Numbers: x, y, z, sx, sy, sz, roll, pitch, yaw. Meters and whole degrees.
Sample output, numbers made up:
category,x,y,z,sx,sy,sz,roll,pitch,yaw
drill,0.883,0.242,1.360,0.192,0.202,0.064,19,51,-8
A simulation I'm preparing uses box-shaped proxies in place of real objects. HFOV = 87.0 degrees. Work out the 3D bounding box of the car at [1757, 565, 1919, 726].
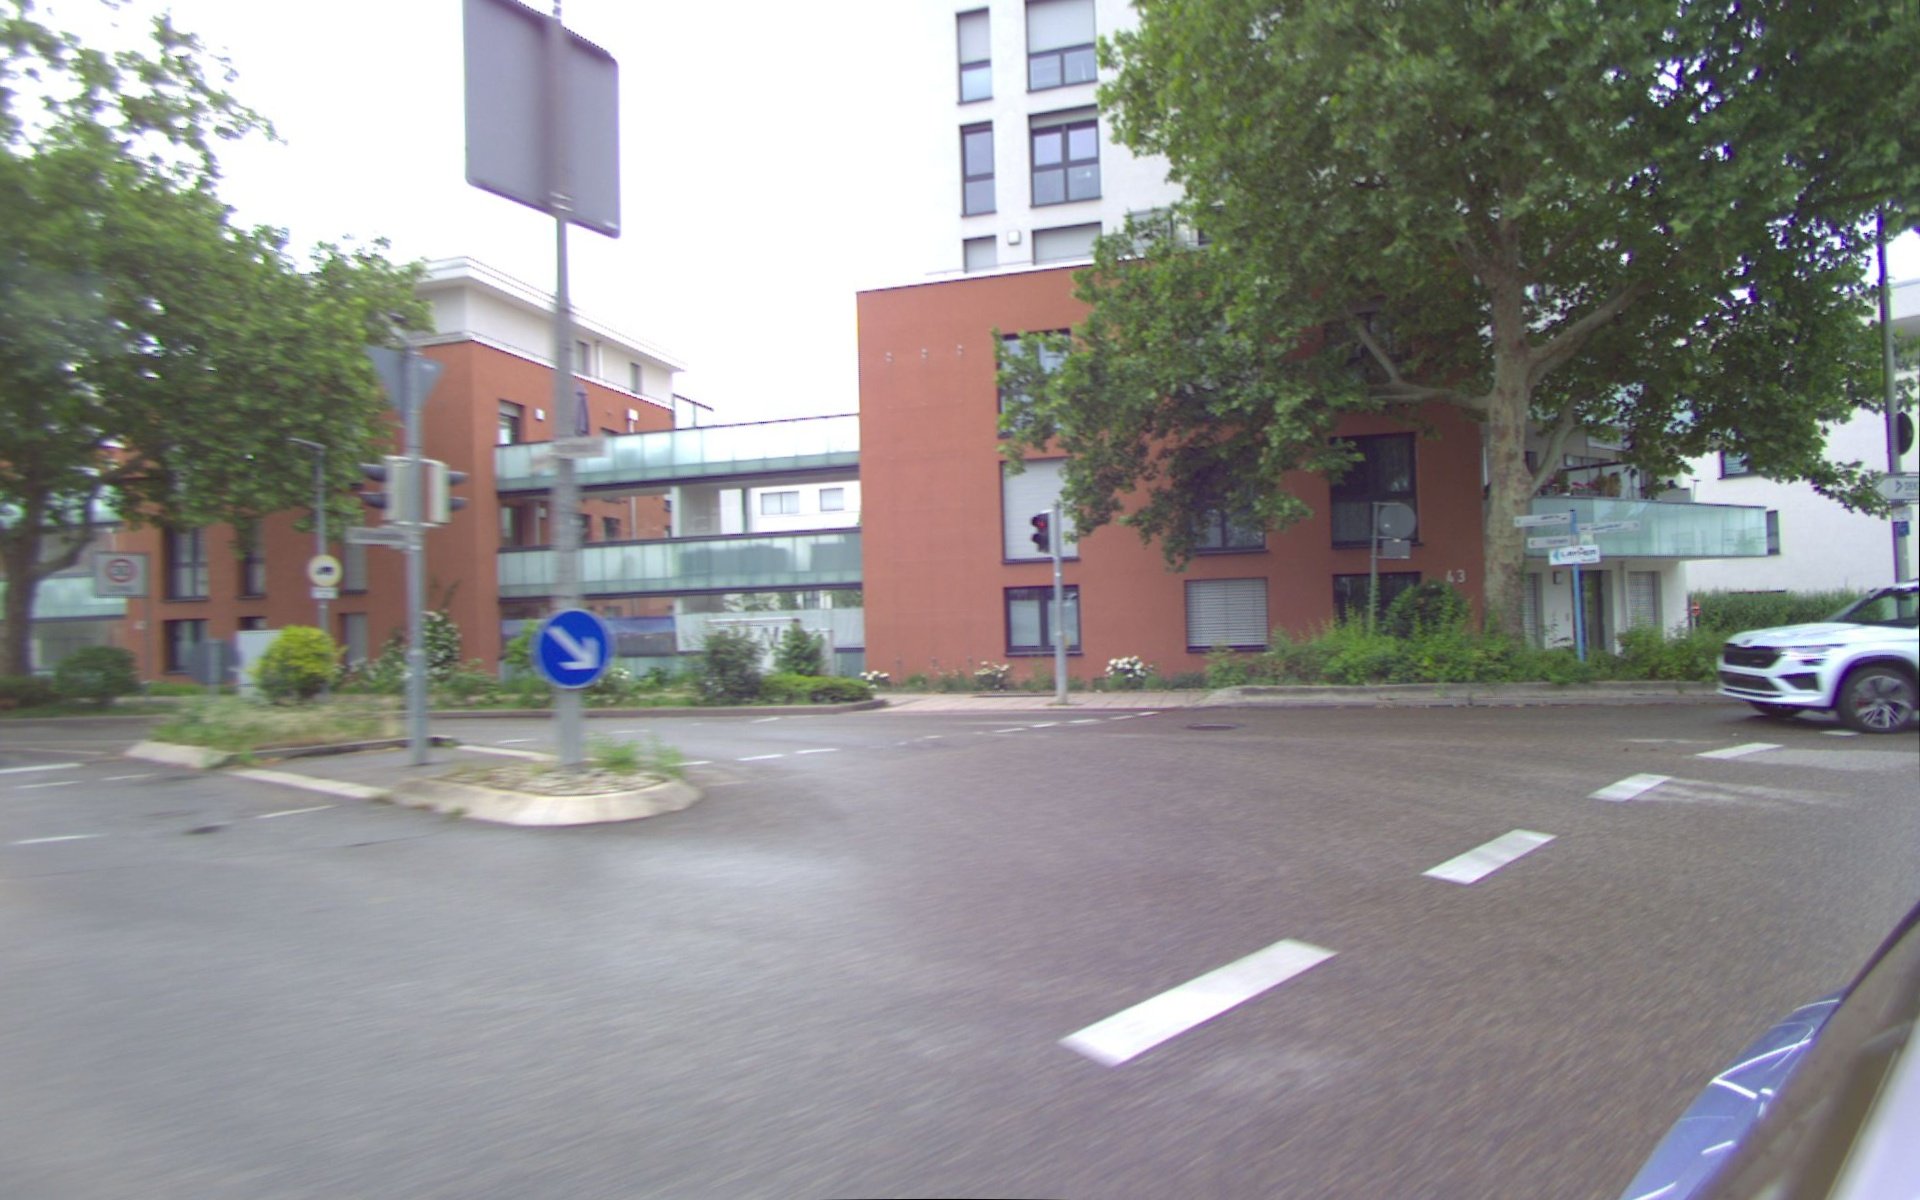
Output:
category,x,y,z,sx,sy,sz,roll,pitch,yaw
car,12.044,0.458,11.178,4.749,1.681,1.881,0,0,8

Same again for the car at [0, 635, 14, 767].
category,x,y,z,sx,sy,sz,roll,pitch,yaw
car,-13.005,1.221,11.815,4.267,1.471,1.925,-3,-3,33
